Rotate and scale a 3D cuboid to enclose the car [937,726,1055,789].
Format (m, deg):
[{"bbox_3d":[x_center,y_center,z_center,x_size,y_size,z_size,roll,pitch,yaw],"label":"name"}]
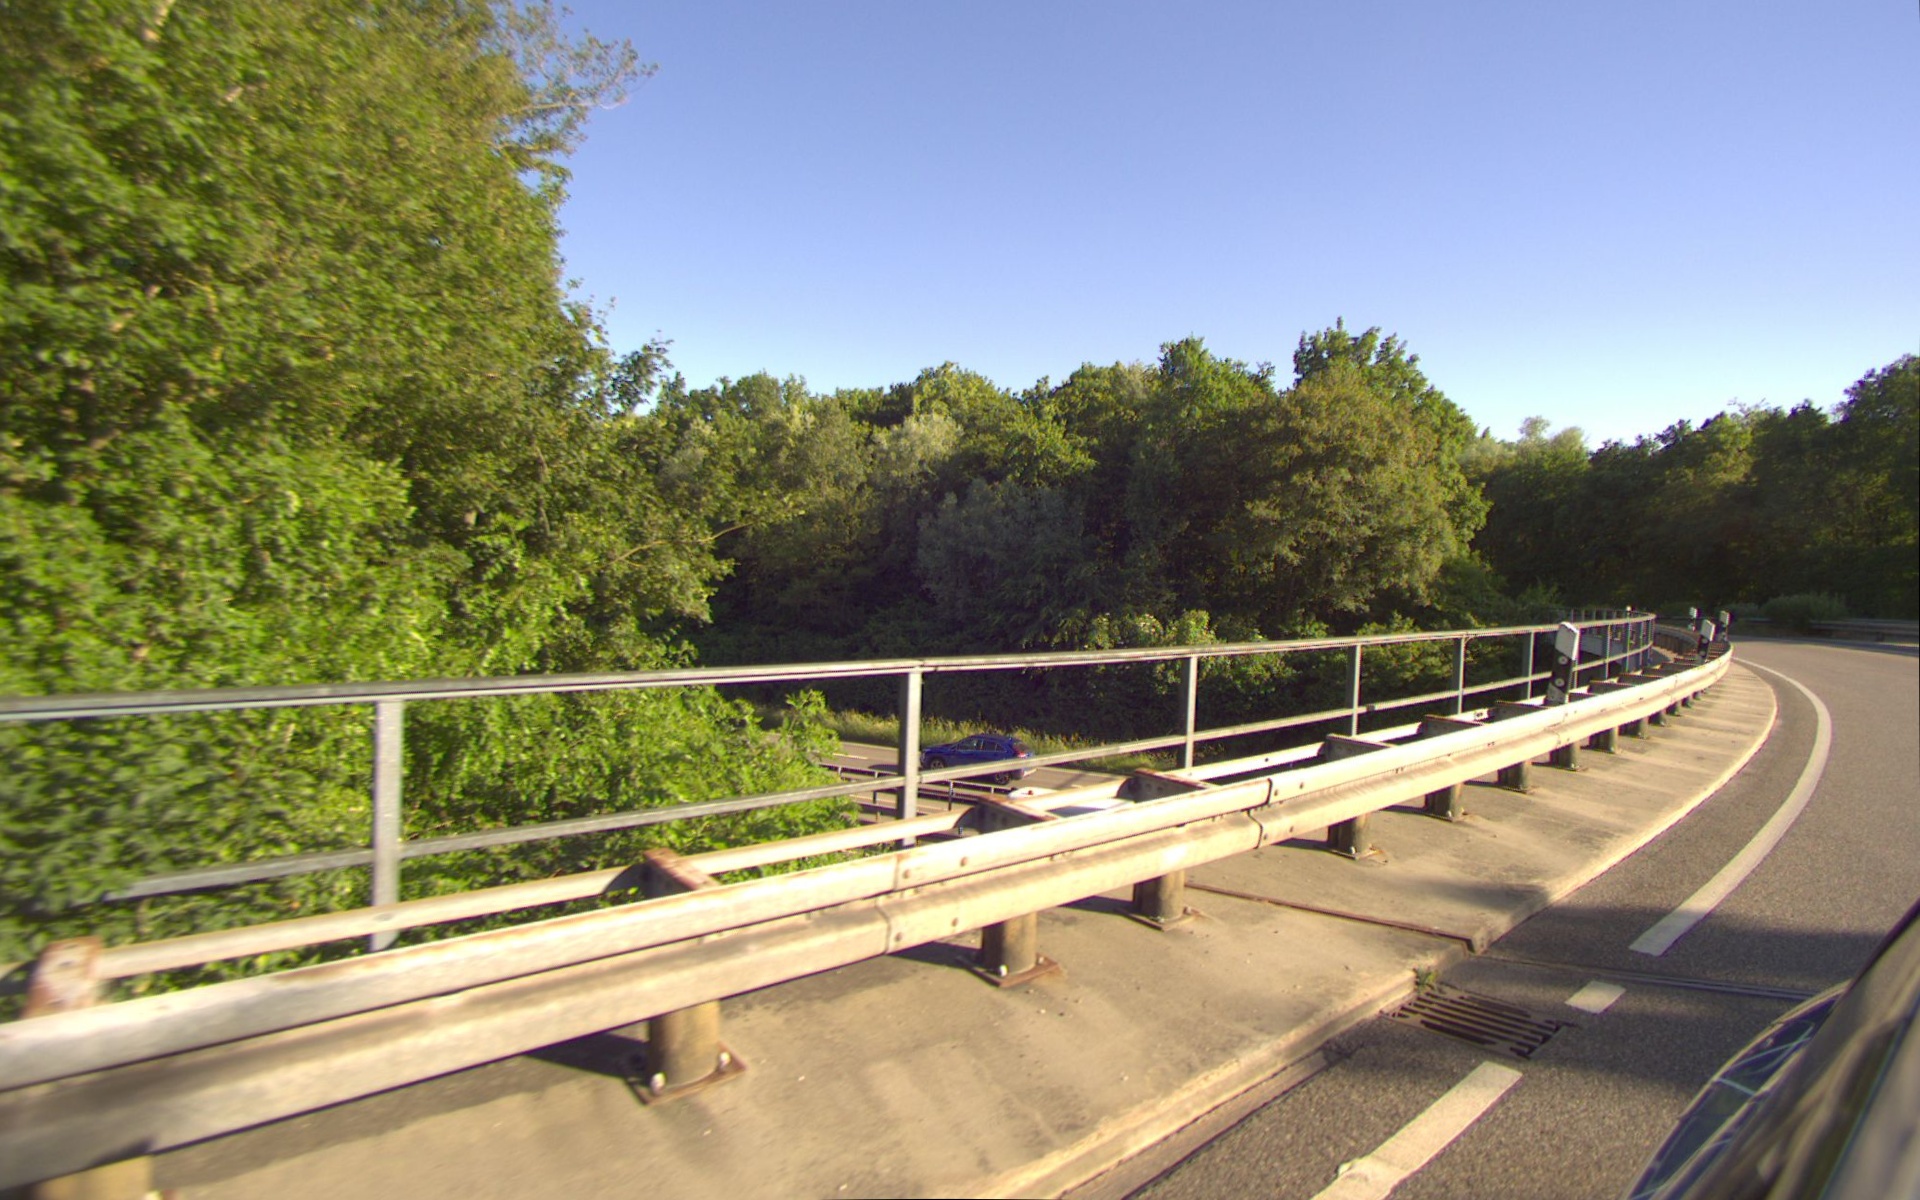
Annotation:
[{"bbox_3d":[1.359,5.862,37.983,3.957,1.694,1.853,3,0,24],"label":"car"}]
